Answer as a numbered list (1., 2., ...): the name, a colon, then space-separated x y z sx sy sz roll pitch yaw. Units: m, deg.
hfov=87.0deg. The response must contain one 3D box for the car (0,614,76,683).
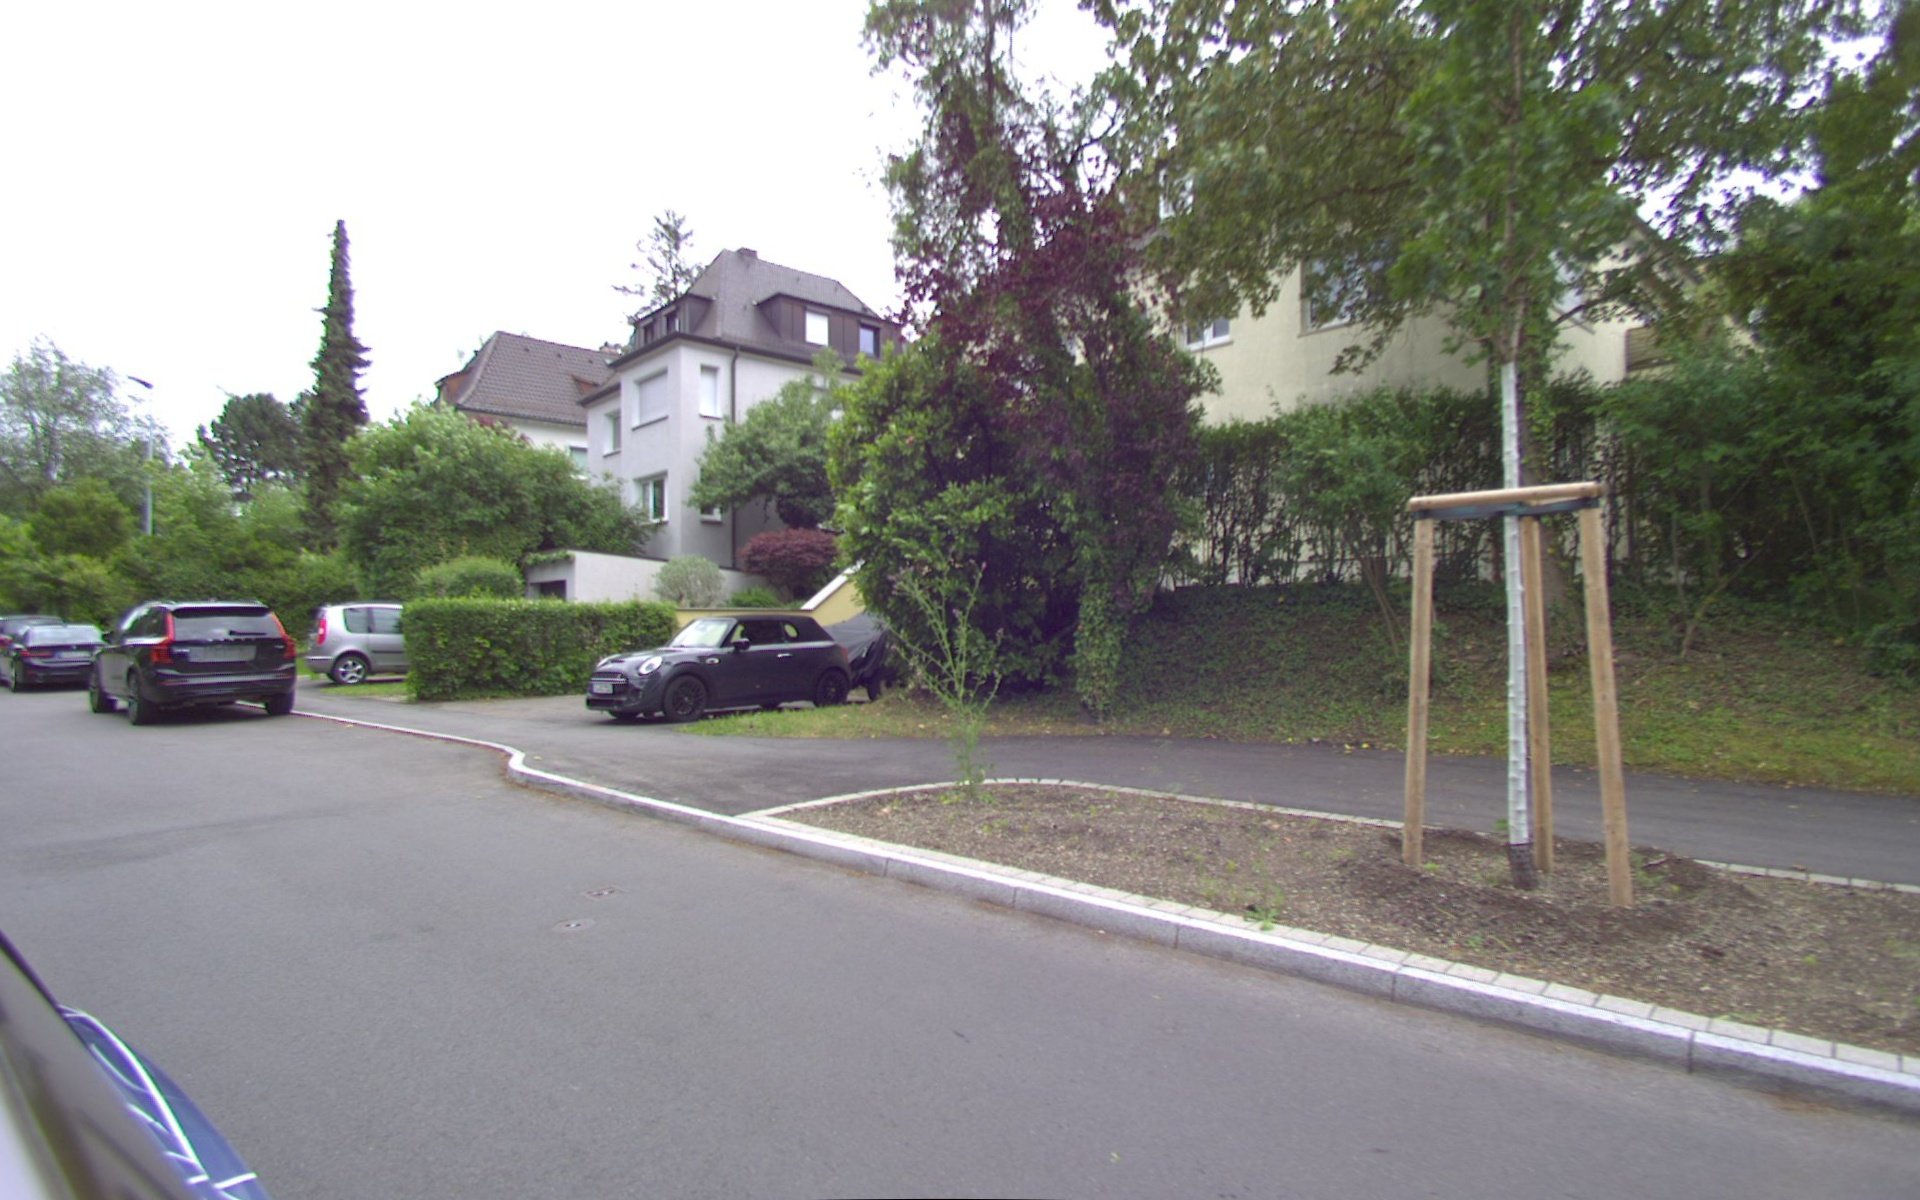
1. car: -24.575 1.222 26.242 4.563 1.644 1.714 -1 -1 39

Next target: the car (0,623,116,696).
1. car: -20.473 1.250 22.653 4.896 1.423 1.735 -1 -1 42

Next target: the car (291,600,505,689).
1. car: -11.670 0.868 21.088 3.644 1.650 1.832 -1 -1 -38

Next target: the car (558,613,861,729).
1. car: -3.403 0.904 14.199 1.778 1.396 3.781 -3 -3 42

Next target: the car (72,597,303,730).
1. car: -12.210 0.889 15.841 5.188 1.750 1.953 -1 -1 42

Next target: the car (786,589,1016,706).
1. car: -0.959 0.859 17.557 2.011 1.807 3.506 -2 -5 45
